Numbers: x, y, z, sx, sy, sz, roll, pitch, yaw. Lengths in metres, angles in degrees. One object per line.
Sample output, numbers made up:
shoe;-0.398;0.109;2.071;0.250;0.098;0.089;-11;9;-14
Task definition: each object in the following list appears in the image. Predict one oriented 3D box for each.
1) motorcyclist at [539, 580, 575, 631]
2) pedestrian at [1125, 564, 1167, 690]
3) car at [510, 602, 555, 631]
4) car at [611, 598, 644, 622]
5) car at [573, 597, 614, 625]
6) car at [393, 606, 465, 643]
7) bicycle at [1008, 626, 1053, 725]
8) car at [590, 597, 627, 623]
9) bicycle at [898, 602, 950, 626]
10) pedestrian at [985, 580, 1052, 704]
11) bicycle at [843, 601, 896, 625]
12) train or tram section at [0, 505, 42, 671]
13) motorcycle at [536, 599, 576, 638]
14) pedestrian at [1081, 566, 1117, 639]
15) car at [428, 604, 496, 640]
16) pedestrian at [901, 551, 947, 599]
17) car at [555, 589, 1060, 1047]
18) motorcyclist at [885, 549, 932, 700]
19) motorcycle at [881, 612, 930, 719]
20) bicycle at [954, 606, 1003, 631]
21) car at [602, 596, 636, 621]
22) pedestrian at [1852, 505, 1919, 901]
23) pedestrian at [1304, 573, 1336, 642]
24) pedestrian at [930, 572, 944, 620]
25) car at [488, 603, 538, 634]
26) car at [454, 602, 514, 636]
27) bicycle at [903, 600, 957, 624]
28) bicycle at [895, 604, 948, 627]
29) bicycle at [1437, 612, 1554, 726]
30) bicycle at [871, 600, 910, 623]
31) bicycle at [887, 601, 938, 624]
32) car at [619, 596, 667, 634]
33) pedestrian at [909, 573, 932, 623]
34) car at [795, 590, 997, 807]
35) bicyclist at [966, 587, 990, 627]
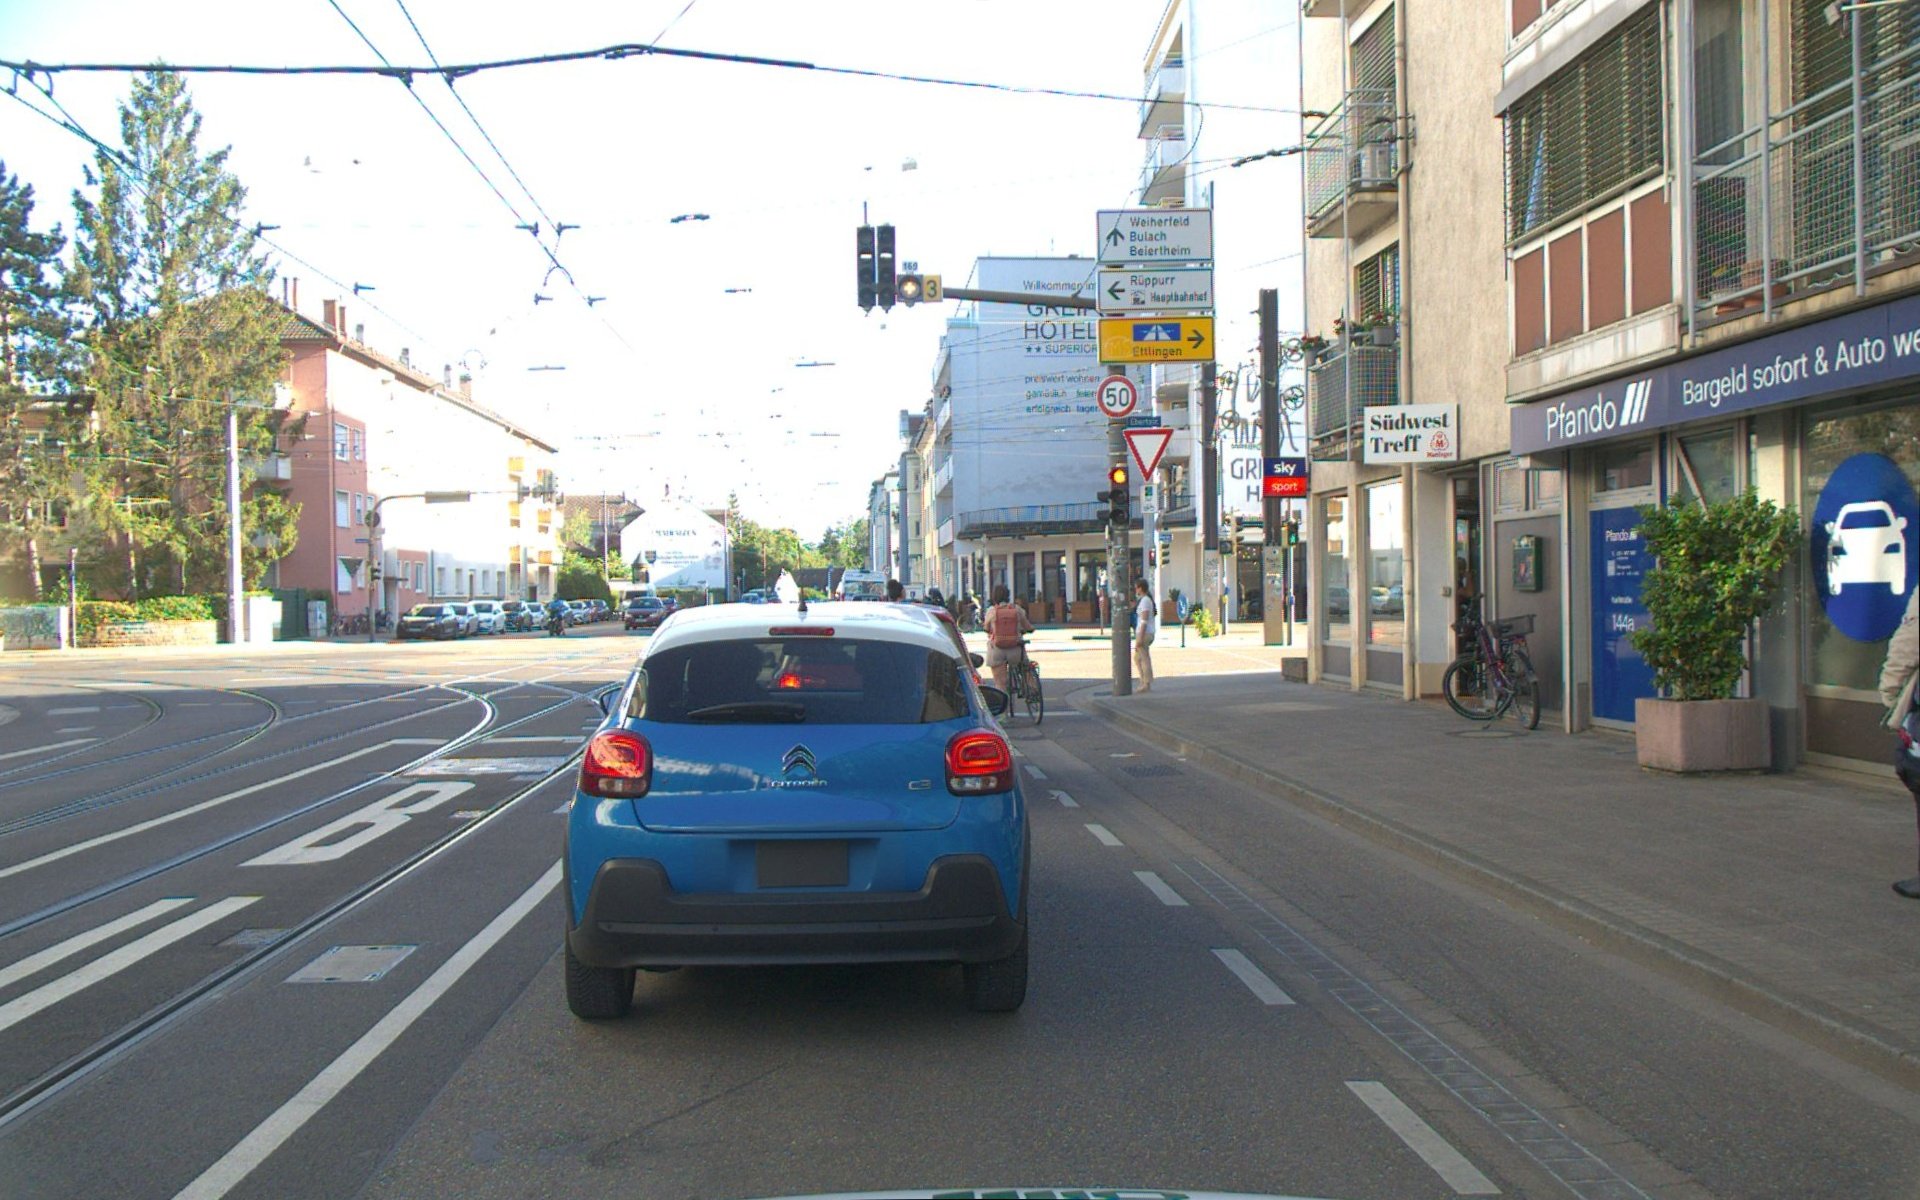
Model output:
motorcyclist;-16.314;0.223;67.007;1.162;2.049;1.274;-1;0;-4
pedestrian;2.729;0.395;24.315;0.507;1.814;0.595;1;-1;-3
car;-23.656;0.912;91.620;1.699;1.524;3.996;1;0;-5
car;-24.285;0.700;120.941;1.809;1.716;3.871;1;0;-4
car;-23.425;0.689;105.845;1.944;1.716;3.997;1;0;-4
car;-21.940;1.006;68.478;1.757;1.446;3.994;1;0;-2
bicycle;0.863;0.907;20.552;0.419;1.142;1.998;1;0;-1
car;-23.536;0.672;110.908;1.845;1.716;3.997;1;0;-4
bicycle;-1.452;0.564;67.077;2.093;0.917;0.366;1;-1;-10
pedestrian;0.706;0.508;20.251;0.761;1.486;0.681;1;-1;-1
bicycle;-3.614;0.524;66.241;2.093;0.917;0.366;1;-1;-10
train or tram section;-27.239;-0.179;37.400;12.320;3.657;3.075;-1;0;12
motorcycle;-16.302;0.717;66.835;0.905;1.512;3.723;1;0;-4
pedestrian;3.944;0.068;46.940;0.907;2.049;0.759;1;-1;-1
car;-22.288;0.954;74.172;1.778;1.524;4.299;1;0;-1
pedestrian;-1.601;-1.087;73.513;1.953;2.049;3.999;1;0;-1
car;-0.519;0.719;7.157;1.620;1.469;3.522;1;0;-1
motorcyclist;-0.610;0.291;19.595;0.516;1.746;0.717;1;-1;-1
motorcycle;-0.618;0.732;19.405;0.515;1.159;2.289;1;0;-1
bicycle;0.688;0.681;61.471;1.814;0.919;0.350;1;-1;19
car;-23.972;0.597;116.306;1.797;1.716;3.997;1;0;-4
pedestrian;4.331;0.427;6.889;0.808;1.620;0.751;1;-1;-1
pedestrian;8.667;0.185;39.792;0.720;1.629;0.749;1;-1;12
pedestrian;-0.983;-0.170;70.178;0.565;2.049;0.625;1;-1;-3
car;-23.133;0.927;85.711;1.750;1.524;3.997;1;0;-4
car;-22.649;0.877;78.795;1.751;1.537;4.148;1;0;-2
bicycle;-1.200;0.476;65.877;2.093;0.917;0.366;1;-1;-10
bicycle;-1.570;0.634;67.549;2.093;0.917;0.366;1;-1;-10
bicycle;5.076;0.627;15.776;0.531;1.016;1.705;1;0;-1
bicycle;-2.915;0.474;69.398;1.751;0.917;0.365;1;-1;34
bicycle;-1.957;0.498;68.246;2.093;0.917;0.366;1;-1;-10
car;-14.555;0.683;76.136;1.740;1.695;3.853;1;0;-4
pedestrian;-1.650;-0.087;69.087;0.625;2.049;0.715;1;-1;-37
car;-0.470;0.702;13.090;1.395;1.493;2.923;-1;0;-1
bicyclist;0.671;0.260;61.491;0.730;1.503;0.563;1;-1;19
